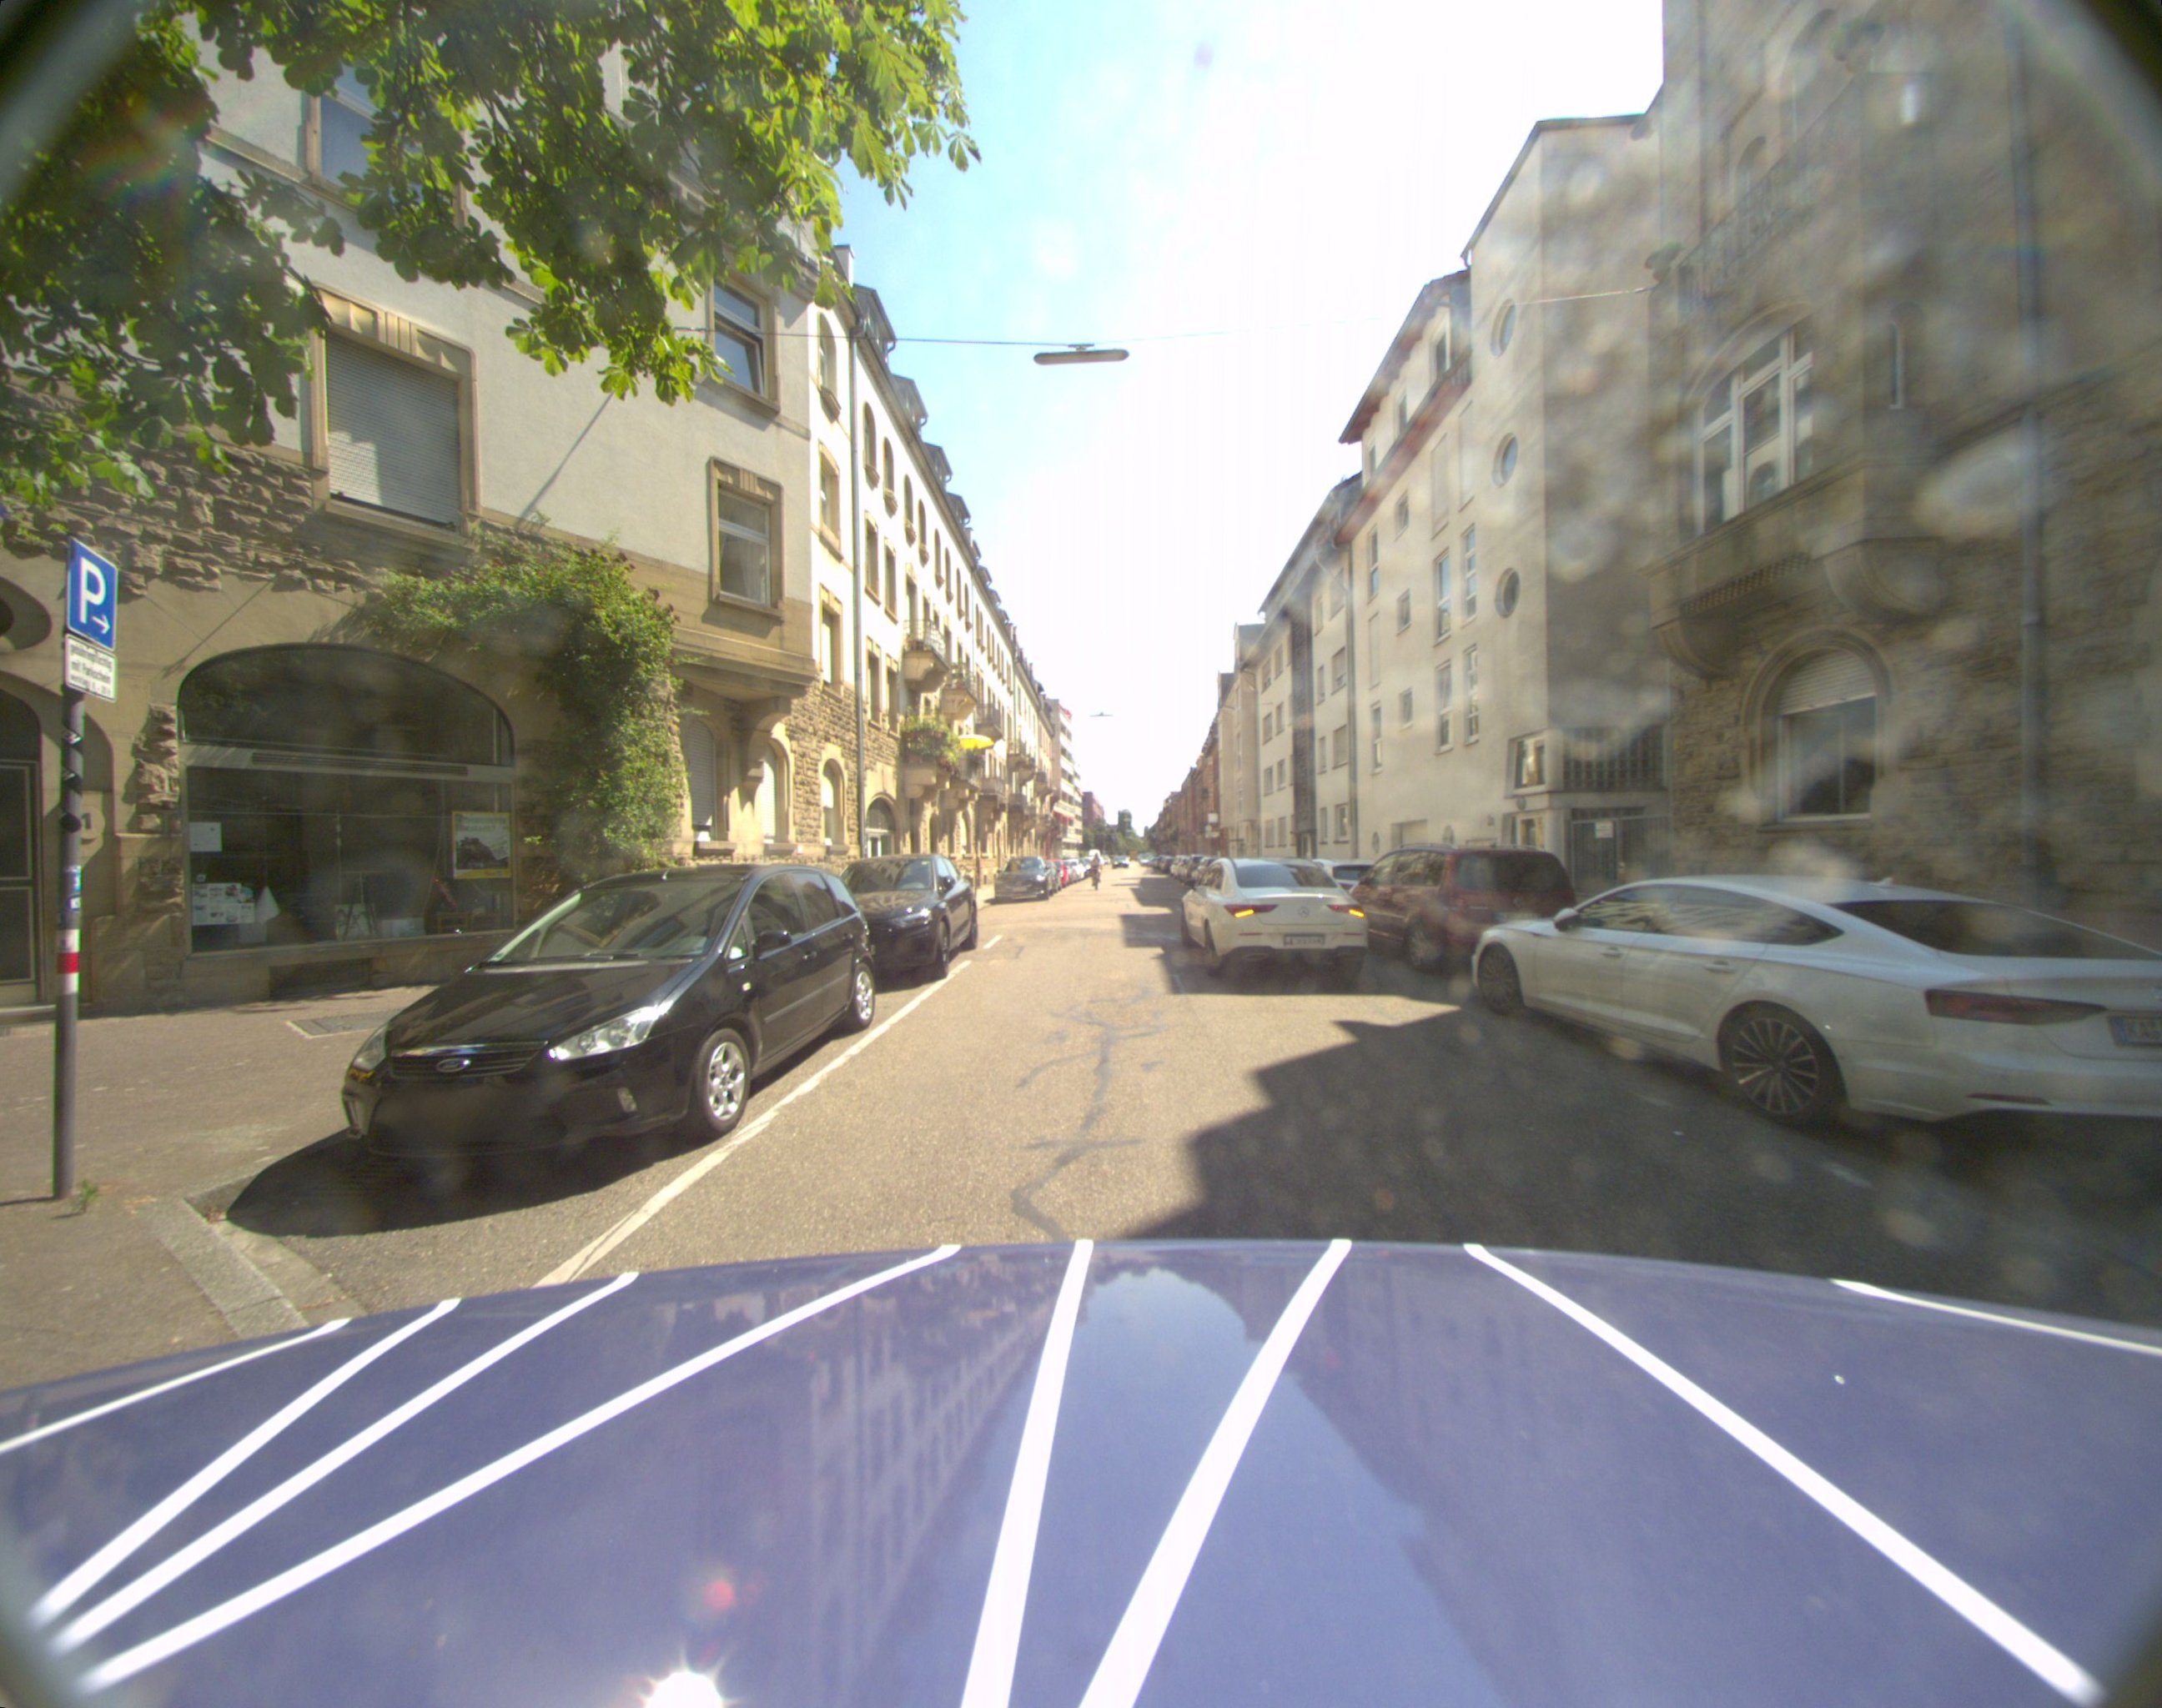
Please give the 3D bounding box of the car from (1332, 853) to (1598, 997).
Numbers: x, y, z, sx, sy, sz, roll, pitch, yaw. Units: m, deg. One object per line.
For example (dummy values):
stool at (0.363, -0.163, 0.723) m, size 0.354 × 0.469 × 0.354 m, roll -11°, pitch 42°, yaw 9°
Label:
car at (5.022, 0.803, 10.635) m, size 1.676 × 1.574 × 4.052 m, roll 1°, pitch 1°, yaw 1°

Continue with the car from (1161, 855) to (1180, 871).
car at (8.645, 0.878, 73.316) m, size 1.632 × 1.421 × 3.679 m, roll 3°, pitch 1°, yaw 5°

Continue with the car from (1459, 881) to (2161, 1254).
car at (4.677, 0.976, 5.404) m, size 1.706 × 1.345 × 4.515 m, roll 1°, pitch 0°, yaw 0°

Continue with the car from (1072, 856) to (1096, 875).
car at (0.273, 0.924, 61.981) m, size 1.828 × 1.423 × 4.490 m, roll -1°, pitch 0°, yaw 1°

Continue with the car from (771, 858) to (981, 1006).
car at (-2.654, 0.915, 10.953) m, size 1.740 × 1.587 × 4.347 m, roll -3°, pitch 0°, yaw 0°

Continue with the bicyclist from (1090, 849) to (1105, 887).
bicyclist at (0.738, 0.610, 33.724) m, size 0.644 × 1.640 × 0.622 m, roll 0°, pitch 1°, yaw 4°

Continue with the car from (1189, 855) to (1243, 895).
car at (5.760, 0.858, 32.846) m, size 1.660 × 1.510 × 4.672 m, roll 1°, pitch 1°, yaw 2°

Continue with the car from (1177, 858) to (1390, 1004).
car at (2.433, 0.832, 10.289) m, size 1.845 × 1.452 × 4.362 m, roll 1°, pitch 1°, yaw 2°

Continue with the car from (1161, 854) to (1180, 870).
car at (9.192, 0.838, 78.162) m, size 1.450 × 1.534 × 3.525 m, roll 3°, pitch 1°, yaw 1°

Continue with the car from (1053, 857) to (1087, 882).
car at (-0.663, 0.998, 50.511) m, size 1.720 × 1.444 × 4.598 m, roll -3°, pitch 0°, yaw 5°

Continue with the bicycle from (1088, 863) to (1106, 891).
bicycle at (0.725, 1.000, 33.660) m, size 0.671 × 1.169 × 2.095 m, roll 0°, pitch 1°, yaw 4°

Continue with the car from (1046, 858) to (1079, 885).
car at (-1.061, 1.015, 45.100) m, size 1.593 × 1.444 × 3.856 m, roll -3°, pitch 0°, yaw 2°

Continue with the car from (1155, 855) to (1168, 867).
car at (9.879, 0.880, 93.634) m, size 1.449 × 1.391 × 3.527 m, roll 3°, pitch 1°, yaw 4°

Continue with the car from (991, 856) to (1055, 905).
car at (-2.065, 0.901, 28.305) m, size 1.837 × 1.558 × 4.605 m, roll -3°, pitch 0°, yaw 2°

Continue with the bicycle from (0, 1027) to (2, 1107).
bicycle at (-7.208, 1.068, 3.585) m, size 0.796 × 1.162 × 2.576 m, roll 0°, pitch 0°, yaw -8°

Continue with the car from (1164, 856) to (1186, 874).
car at (8.398, 0.955, 68.158) m, size 1.781 × 1.421 × 3.838 m, roll 3°, pitch 1°, yaw 5°

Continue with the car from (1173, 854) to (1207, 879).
car at (7.152, 0.810, 50.327) m, size 1.734 × 1.486 × 4.349 m, roll 2°, pitch 1°, yaw 2°

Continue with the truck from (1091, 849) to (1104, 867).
truck at (2.587, 0.560, 119.089) m, size 1.869 × 2.715 × 4.509 m, roll 0°, pitch 1°, yaw 4°

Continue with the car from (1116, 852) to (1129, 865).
car at (5.215, 0.555, 95.970) m, size 1.624 × 1.600 × 3.598 m, roll 0°, pitch 0°, yaw 3°

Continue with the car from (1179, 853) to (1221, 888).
car at (5.938, 0.791, 38.342) m, size 1.607 × 1.634 × 3.977 m, roll 1°, pitch 1°, yaw 2°

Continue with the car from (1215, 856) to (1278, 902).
car at (5.916, 0.859, 27.532) m, size 1.571 × 1.483 × 3.894 m, roll 1°, pitch 1°, yaw 2°

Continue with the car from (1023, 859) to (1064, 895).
car at (-1.649, 0.984, 34.182) m, size 1.516 × 1.390 × 3.972 m, roll -3°, pitch 0°, yaw 1°

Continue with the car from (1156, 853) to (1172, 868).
car at (9.670, 0.782, 88.700) m, size 1.449 × 1.633 × 3.526 m, roll 3°, pitch 1°, yaw 3°

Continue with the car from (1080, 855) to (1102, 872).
car at (0.987, 0.883, 72.642) m, size 1.651 × 1.613 × 4.094 m, roll 0°, pitch 0°, yaw 8°

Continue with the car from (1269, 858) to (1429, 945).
car at (5.291, 0.865, 15.643) m, size 1.781 × 1.451 × 4.279 m, roll 1°, pitch 1°, yaw 1°

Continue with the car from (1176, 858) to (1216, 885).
car at (6.574, 0.964, 43.698) m, size 1.769 × 1.385 × 4.349 m, roll 1°, pitch 1°, yaw 2°

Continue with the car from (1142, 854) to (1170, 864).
car at (10.839, 0.668, 110.393) m, size 3.995 × 1.422 × 1.678 m, roll 0°, pitch 1°, yaw 4°

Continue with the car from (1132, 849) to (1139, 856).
car at (14.979, -0.414, 207.909) m, size 1.784 × 2.002 × 4.002 m, roll -1°, pitch 0°, yaw 6°

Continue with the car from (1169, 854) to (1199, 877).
car at (7.712, 0.868, 57.329) m, size 1.632 × 1.540 × 3.853 m, roll 3°, pitch 1°, yaw 0°

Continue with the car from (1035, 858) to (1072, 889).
car at (-1.416, 0.981, 40.119) m, size 1.574 × 1.444 × 3.843 m, roll -3°, pitch 0°, yaw 3°

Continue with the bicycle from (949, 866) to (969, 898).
bicycle at (-4.882, 1.101, 30.387) m, size 0.385 × 1.201 × 1.775 m, roll 0°, pitch 1°, yaw 4°

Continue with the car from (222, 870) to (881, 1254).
car at (-2.902, 0.971, 5.460) m, size 1.667 × 1.531 × 4.178 m, roll -3°, pitch 0°, yaw 1°

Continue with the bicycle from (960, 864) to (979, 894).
bicycle at (-4.801, 1.070, 32.837) m, size 0.442 × 1.201 × 1.775 m, roll 0°, pitch 1°, yaw 4°
